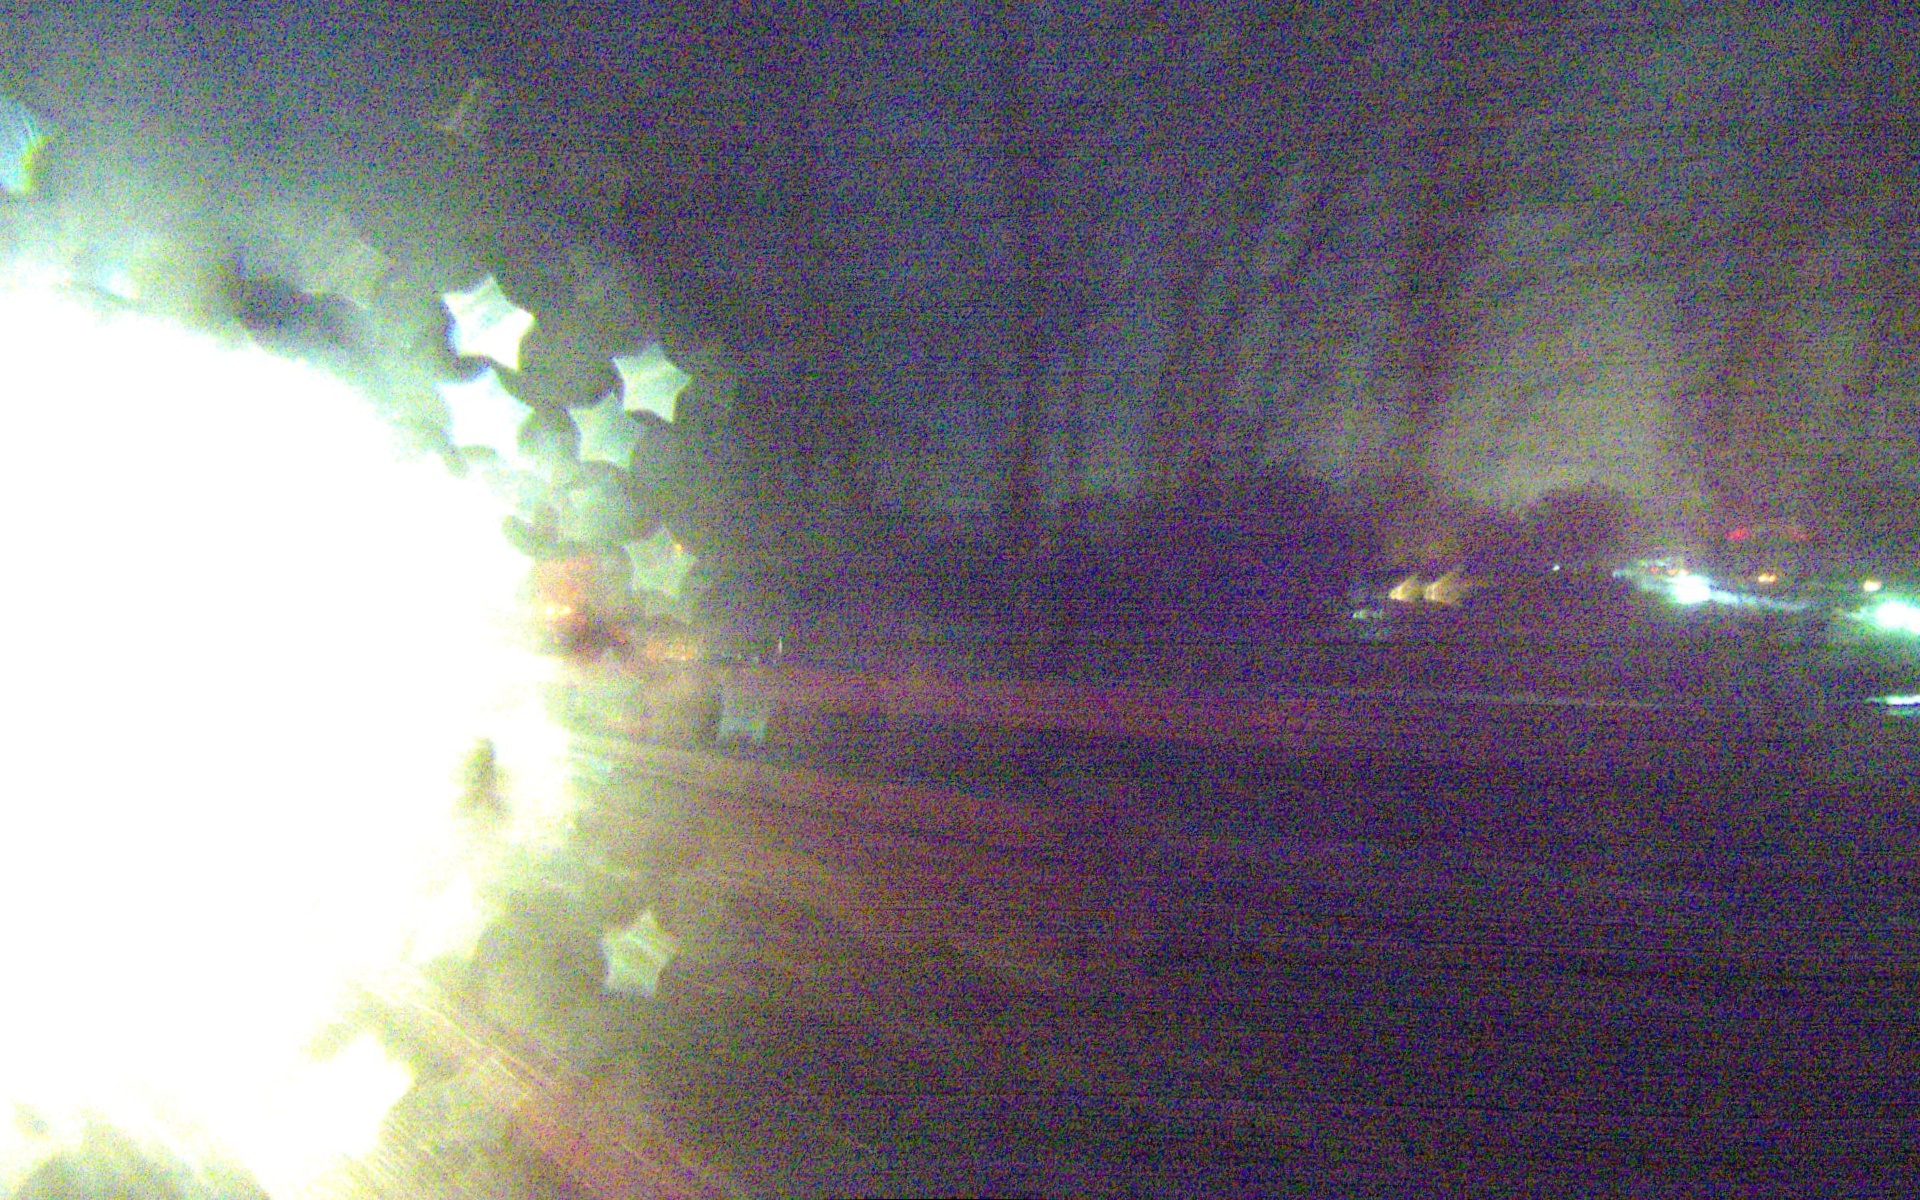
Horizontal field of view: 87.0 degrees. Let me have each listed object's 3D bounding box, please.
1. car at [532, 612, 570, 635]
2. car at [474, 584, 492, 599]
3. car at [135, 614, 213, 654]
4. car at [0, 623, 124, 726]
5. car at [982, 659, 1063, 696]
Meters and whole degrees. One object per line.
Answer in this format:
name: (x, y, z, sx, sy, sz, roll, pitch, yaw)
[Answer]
car: (-32.038, 1.824, 79.222, 1.718, 1.436, 4.109, -2, 4, -38)
car: (-55.636, -0.952, 117.987, 1.733, 1.501, 4.059, 0, 4, -28)
car: (-28.158, 1.185, 36.370, 1.731, 1.322, 4.097, 0, -1, -31)
car: (-14.653, 1.112, 16.277, 1.660, 1.462, 3.650, 1, -2, -37)
car: (2.859, 3.507, 46.007, 3.404, 1.438, 1.496, 1, 0, 19)
